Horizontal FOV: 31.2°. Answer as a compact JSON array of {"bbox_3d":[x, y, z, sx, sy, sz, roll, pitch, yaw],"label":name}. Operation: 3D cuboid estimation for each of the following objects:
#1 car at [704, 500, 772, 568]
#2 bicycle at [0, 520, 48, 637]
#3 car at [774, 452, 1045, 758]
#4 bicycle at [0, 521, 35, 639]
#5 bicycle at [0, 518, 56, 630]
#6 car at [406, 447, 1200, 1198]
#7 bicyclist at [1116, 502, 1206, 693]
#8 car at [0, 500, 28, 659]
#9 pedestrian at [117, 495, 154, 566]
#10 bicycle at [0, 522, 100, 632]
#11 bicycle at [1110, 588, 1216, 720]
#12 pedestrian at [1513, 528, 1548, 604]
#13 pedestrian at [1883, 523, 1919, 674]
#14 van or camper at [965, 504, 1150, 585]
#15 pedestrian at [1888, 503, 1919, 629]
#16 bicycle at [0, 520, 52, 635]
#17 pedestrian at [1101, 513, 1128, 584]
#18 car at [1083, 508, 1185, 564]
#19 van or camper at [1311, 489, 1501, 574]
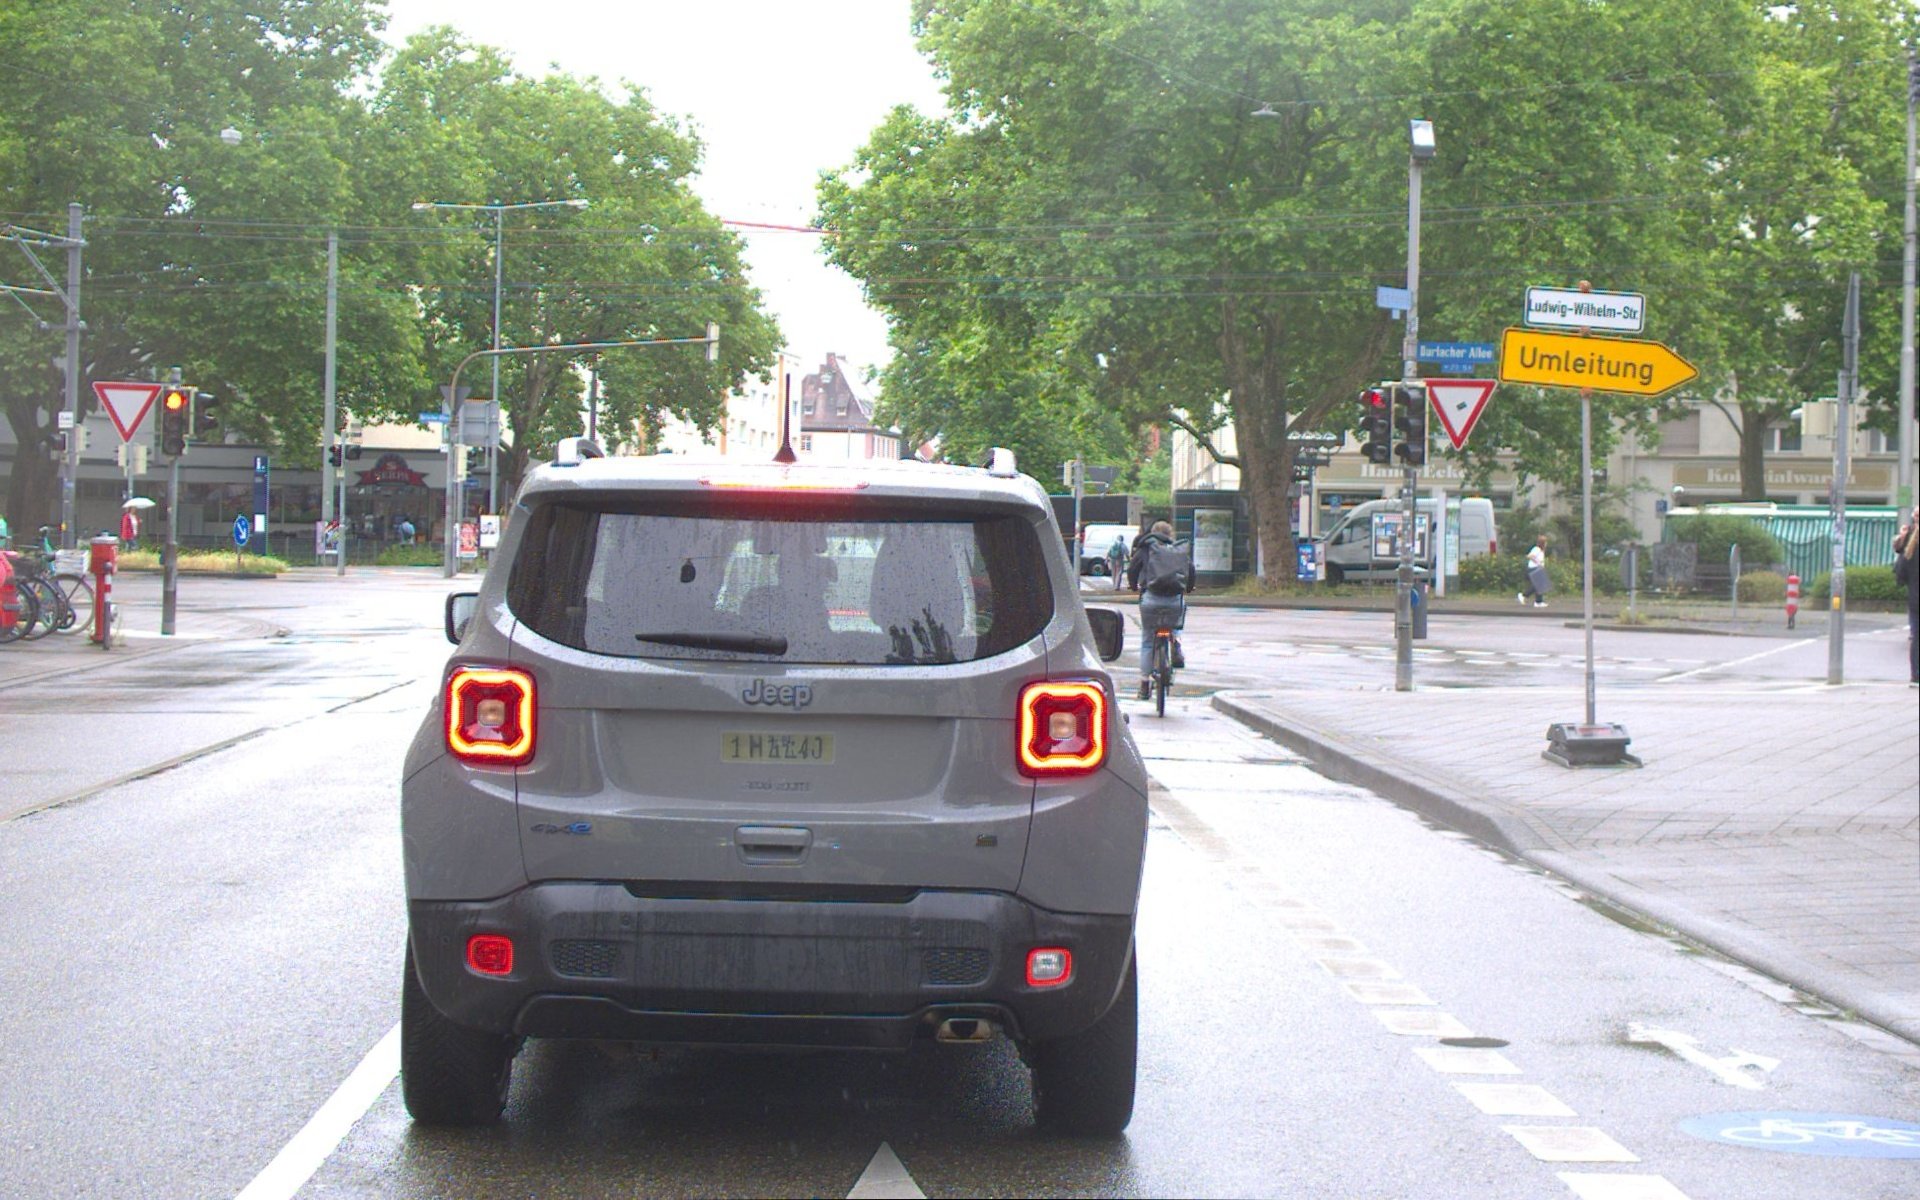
[{"bbox_3d":[-5.834,-1.737,90.045,1.721,1.733,3.730,1,1,-4],"label":"car"},{"bbox_3d":[-10.936,-0.249,37.557,1.810,1.262,0.498,1,1,-1],"label":"bicycle"},{"bbox_3d":[-0.356,-0.021,24.847,1.770,2.007,4.000,1,1,-1],"label":"car"},{"bbox_3d":[-10.915,-0.227,37.011,1.763,1.262,0.522,1,1,-1],"label":"bicycle"},{"bbox_3d":[-11.287,-0.305,39.273,1.763,1.262,0.608,1,1,-1],"label":"bicycle"},{"bbox_3d":[-0.390,0.449,9.628,1.775,1.681,3.848,0,1,-1],"label":"car"},{"bbox_3d":[1.709,-0.031,29.337,0.687,1.612,0.884,0,1,-1],"label":"bicyclist"},{"bbox_3d":[-10.984,-0.220,33.260,3.393,1.552,1.705,0,2,-39],"label":"car"},{"bbox_3d":[-21.158,-1.792,88.247,0.692,1.820,0.620,1,1,16],"label":"pedestrian"},{"bbox_3d":[-10.997,-0.278,40.149,1.763,1.262,0.608,1,1,-1],"label":"bicycle"},{"bbox_3d":[1.715,0.434,29.403,0.691,1.018,2.658,0,1,-1],"label":"bicycle"},{"bbox_3d":[12.213,-0.732,73.562,0.613,1.598,0.493,1,1,24],"label":"pedestrian"},{"bbox_3d":[10.603,-0.019,37.597,0.784,1.640,0.653,1,2,37],"label":"pedestrian"},{"bbox_3d":[3.665,-2.117,129.826,6.536,2.902,2.491,1,1,27],"label":"van or camper"},{"bbox_3d":[13.394,-0.482,48.086,0.786,1.753,0.945,1,1,15],"label":"pedestrian"},{"bbox_3d":[-11.071,-0.260,38.242,1.810,1.262,0.498,1,1,-1],"label":"bicycle"},{"bbox_3d":[4.406,-1.472,97.977,0.651,2.007,0.482,1,1,12],"label":"pedestrian"},{"bbox_3d":[6.301,-2.331,124.419,3.438,2.007,1.547,0,1,13],"label":"car"},{"bbox_3d":[12.880,-2.001,99.614,5.260,2.307,2.090,2,2,4],"label":"van or camper"}]
